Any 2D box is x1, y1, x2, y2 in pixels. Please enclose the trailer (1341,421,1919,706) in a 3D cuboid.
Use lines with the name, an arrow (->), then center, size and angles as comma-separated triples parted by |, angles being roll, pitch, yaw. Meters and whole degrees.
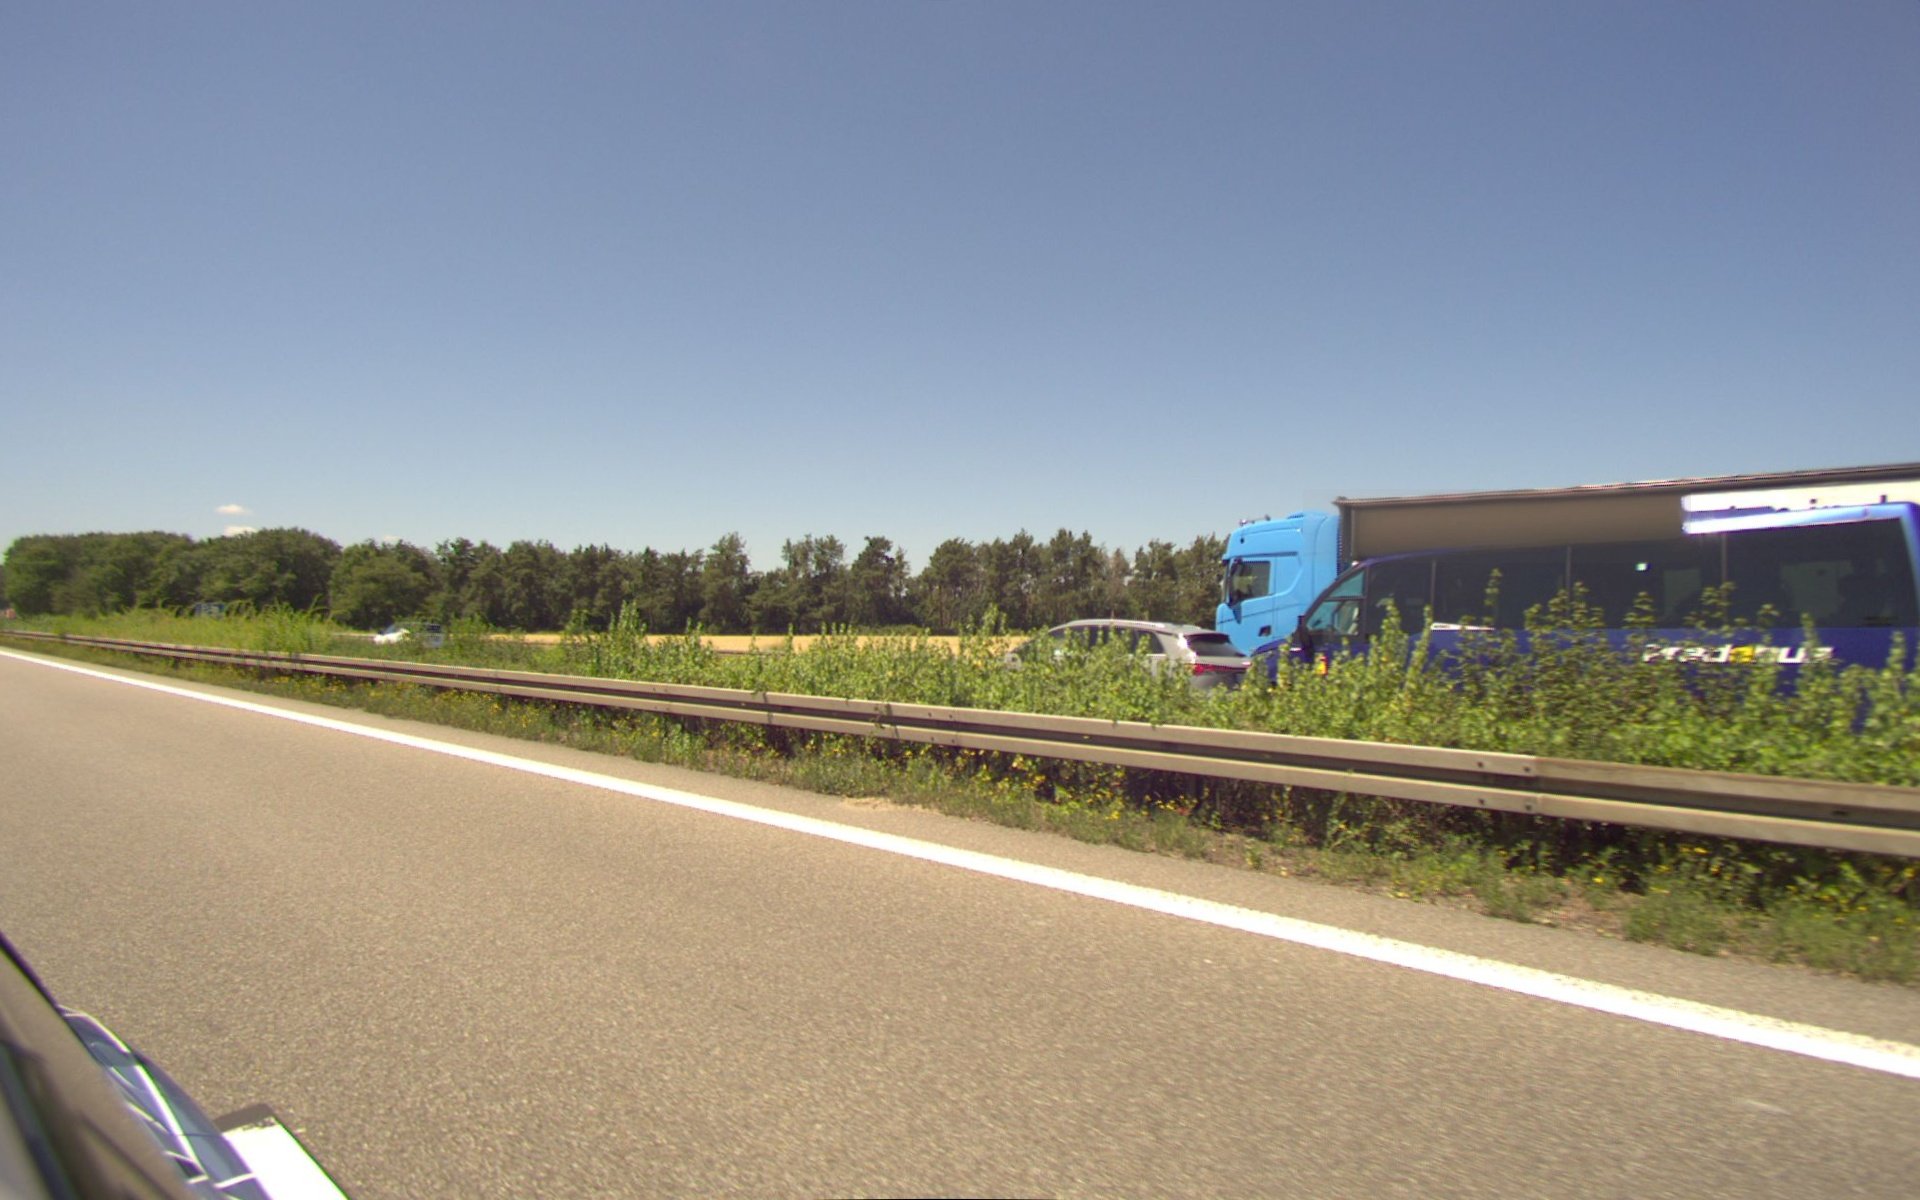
trailer -> 13.293, -0.488, 14.690 | 14.378, 3.726, 3.077 | -1, 0, 42

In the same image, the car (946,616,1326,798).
car -> 2.213, 1.239, 13.605 | 4.710, 2.029, 1.973 | -1, -2, 41

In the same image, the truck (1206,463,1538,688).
truck -> 7.884, -0.387, 19.586 | 5.196, 3.726, 3.077 | -1, 0, 42

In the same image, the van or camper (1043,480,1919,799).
van or camper -> 6.555, 0.475, 14.188 | 11.506, 3.125, 2.583 | -1, -2, 41

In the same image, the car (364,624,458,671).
car -> -20.320, 1.704, 37.373 | 3.927, 1.632, 1.828 | -1, -2, 42
